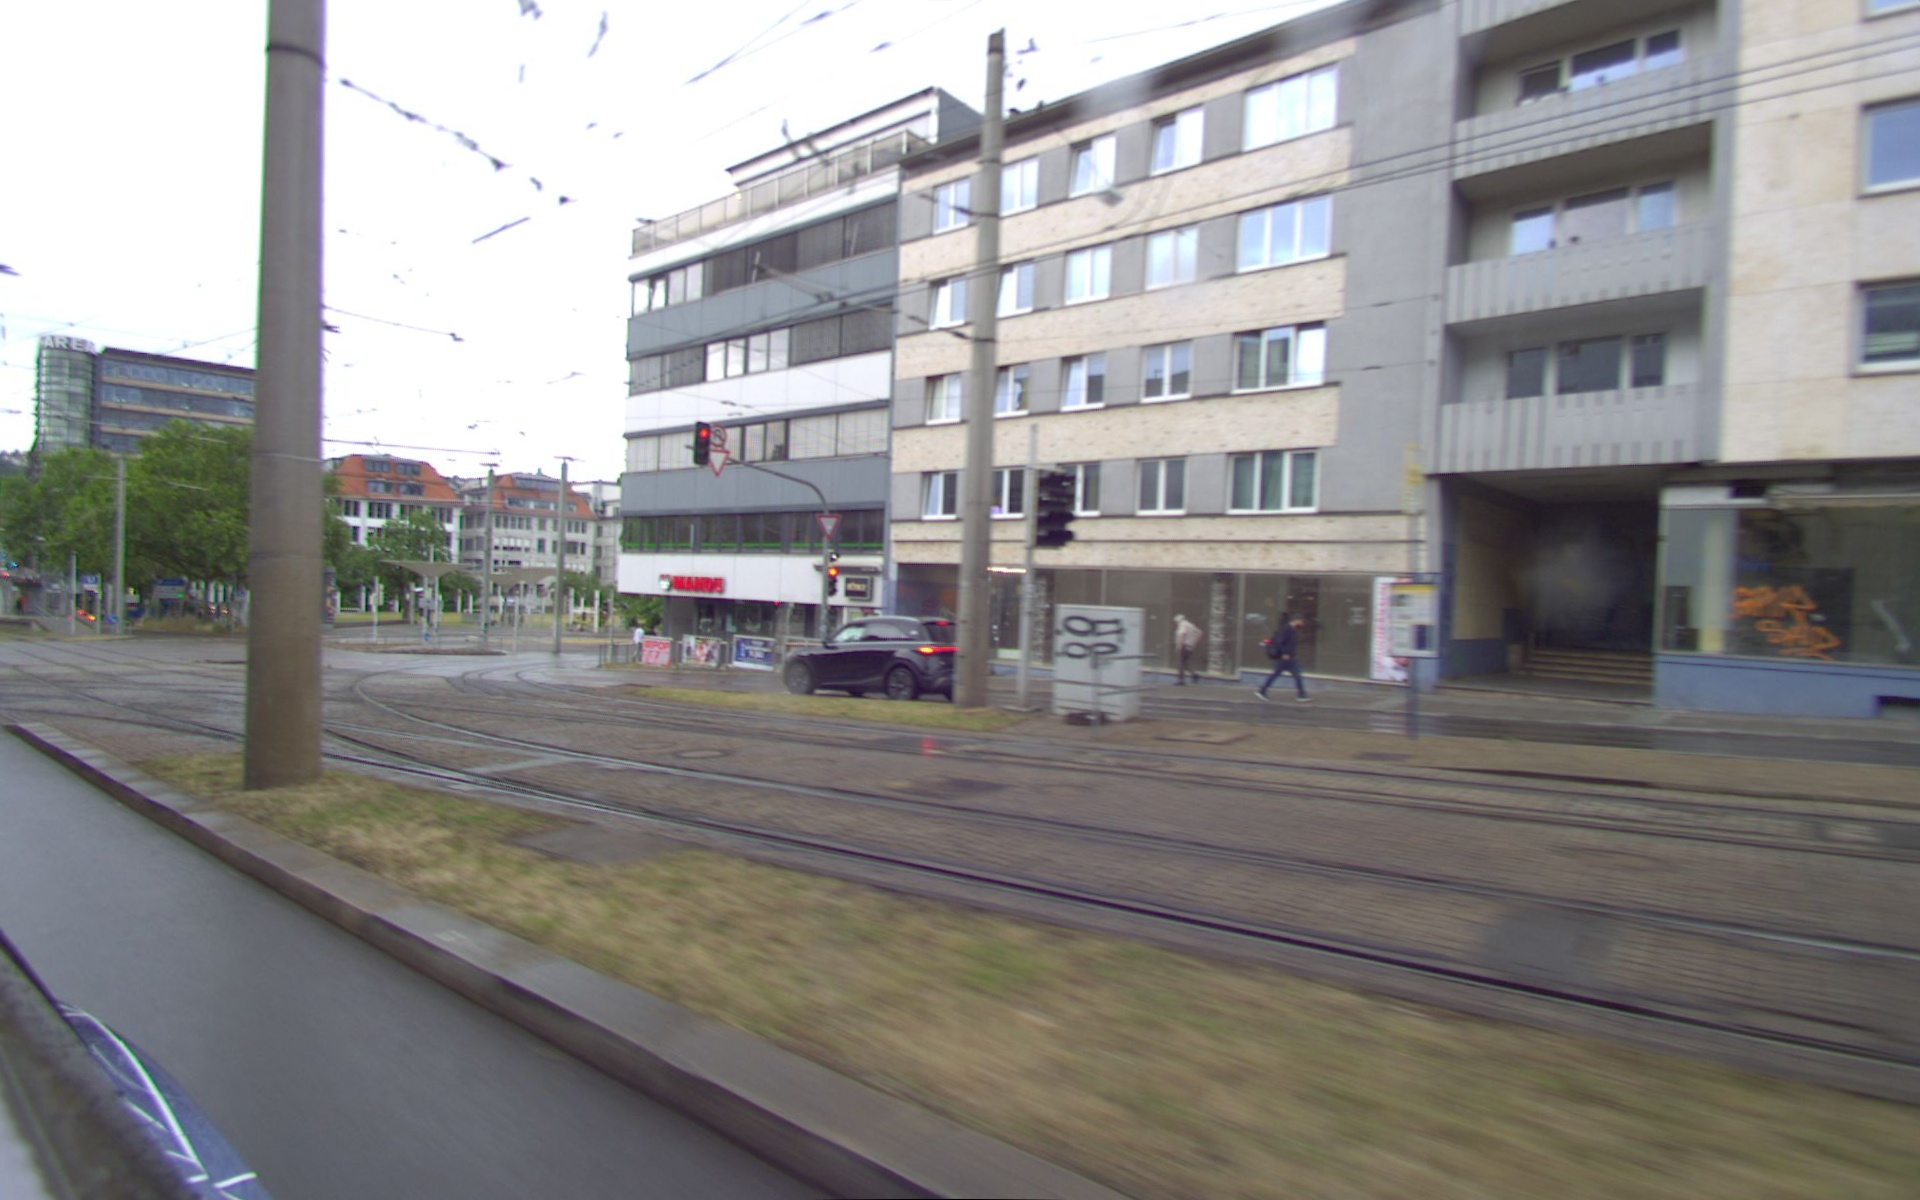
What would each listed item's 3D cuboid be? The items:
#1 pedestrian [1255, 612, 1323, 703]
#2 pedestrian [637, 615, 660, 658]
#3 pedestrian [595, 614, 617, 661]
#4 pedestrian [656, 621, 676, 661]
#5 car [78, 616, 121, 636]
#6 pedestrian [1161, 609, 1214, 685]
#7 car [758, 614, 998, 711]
[{"bbox_3d":[6.338,1.090,19.518,0.998,1.694,0.878,-1,-2,40],"label":"pedestrian"},{"bbox_3d":[-14.140,1.644,45.896,0.697,1.928,0.710,0,-1,40],"label":"pedestrian"},{"bbox_3d":[-14.961,1.579,42.756,0.687,1.928,0.720,1,-1,-8],"label":"pedestrian"},{"bbox_3d":[-13.386,1.846,46.070,0.688,1.775,0.719,1,-1,-1],"label":"pedestrian"},{"bbox_3d":[-70.465,2.080,82.854,4.731,1.517,2.076,0,-1,42],"label":"car"},{"bbox_3d":[5.224,1.072,23.204,0.997,1.694,0.672,-1,-2,39],"label":"pedestrian"},{"bbox_3d":[-1.657,1.144,19.788,4.519,1.686,1.975,-1,-2,37],"label":"car"}]
